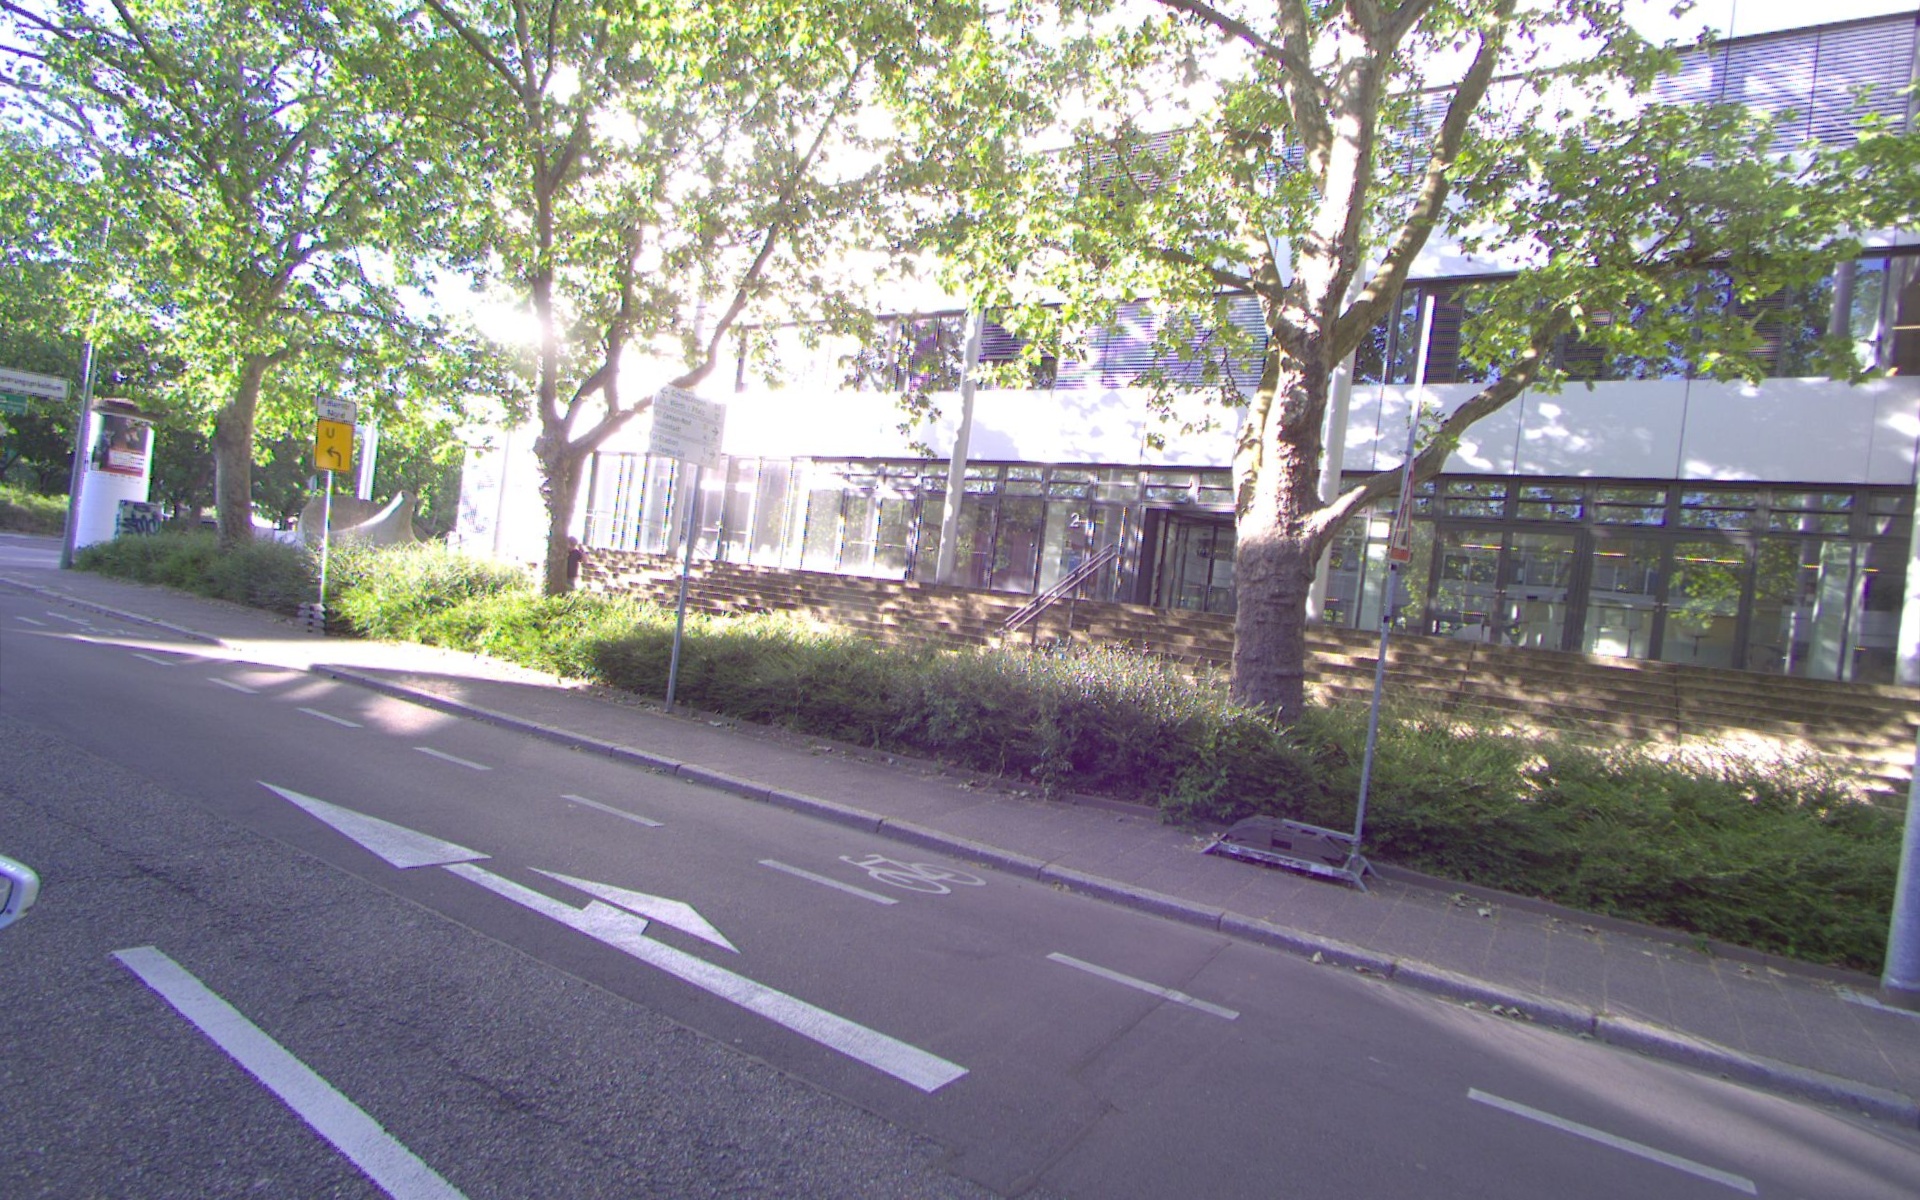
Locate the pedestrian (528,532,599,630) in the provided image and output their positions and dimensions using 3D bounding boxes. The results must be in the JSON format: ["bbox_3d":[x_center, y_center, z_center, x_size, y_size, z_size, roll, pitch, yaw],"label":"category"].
[{"bbox_3d":[-7.911,-0.370,20.093,0.848,1.802,0.785,7,0,30],"label":"pedestrian"}]
